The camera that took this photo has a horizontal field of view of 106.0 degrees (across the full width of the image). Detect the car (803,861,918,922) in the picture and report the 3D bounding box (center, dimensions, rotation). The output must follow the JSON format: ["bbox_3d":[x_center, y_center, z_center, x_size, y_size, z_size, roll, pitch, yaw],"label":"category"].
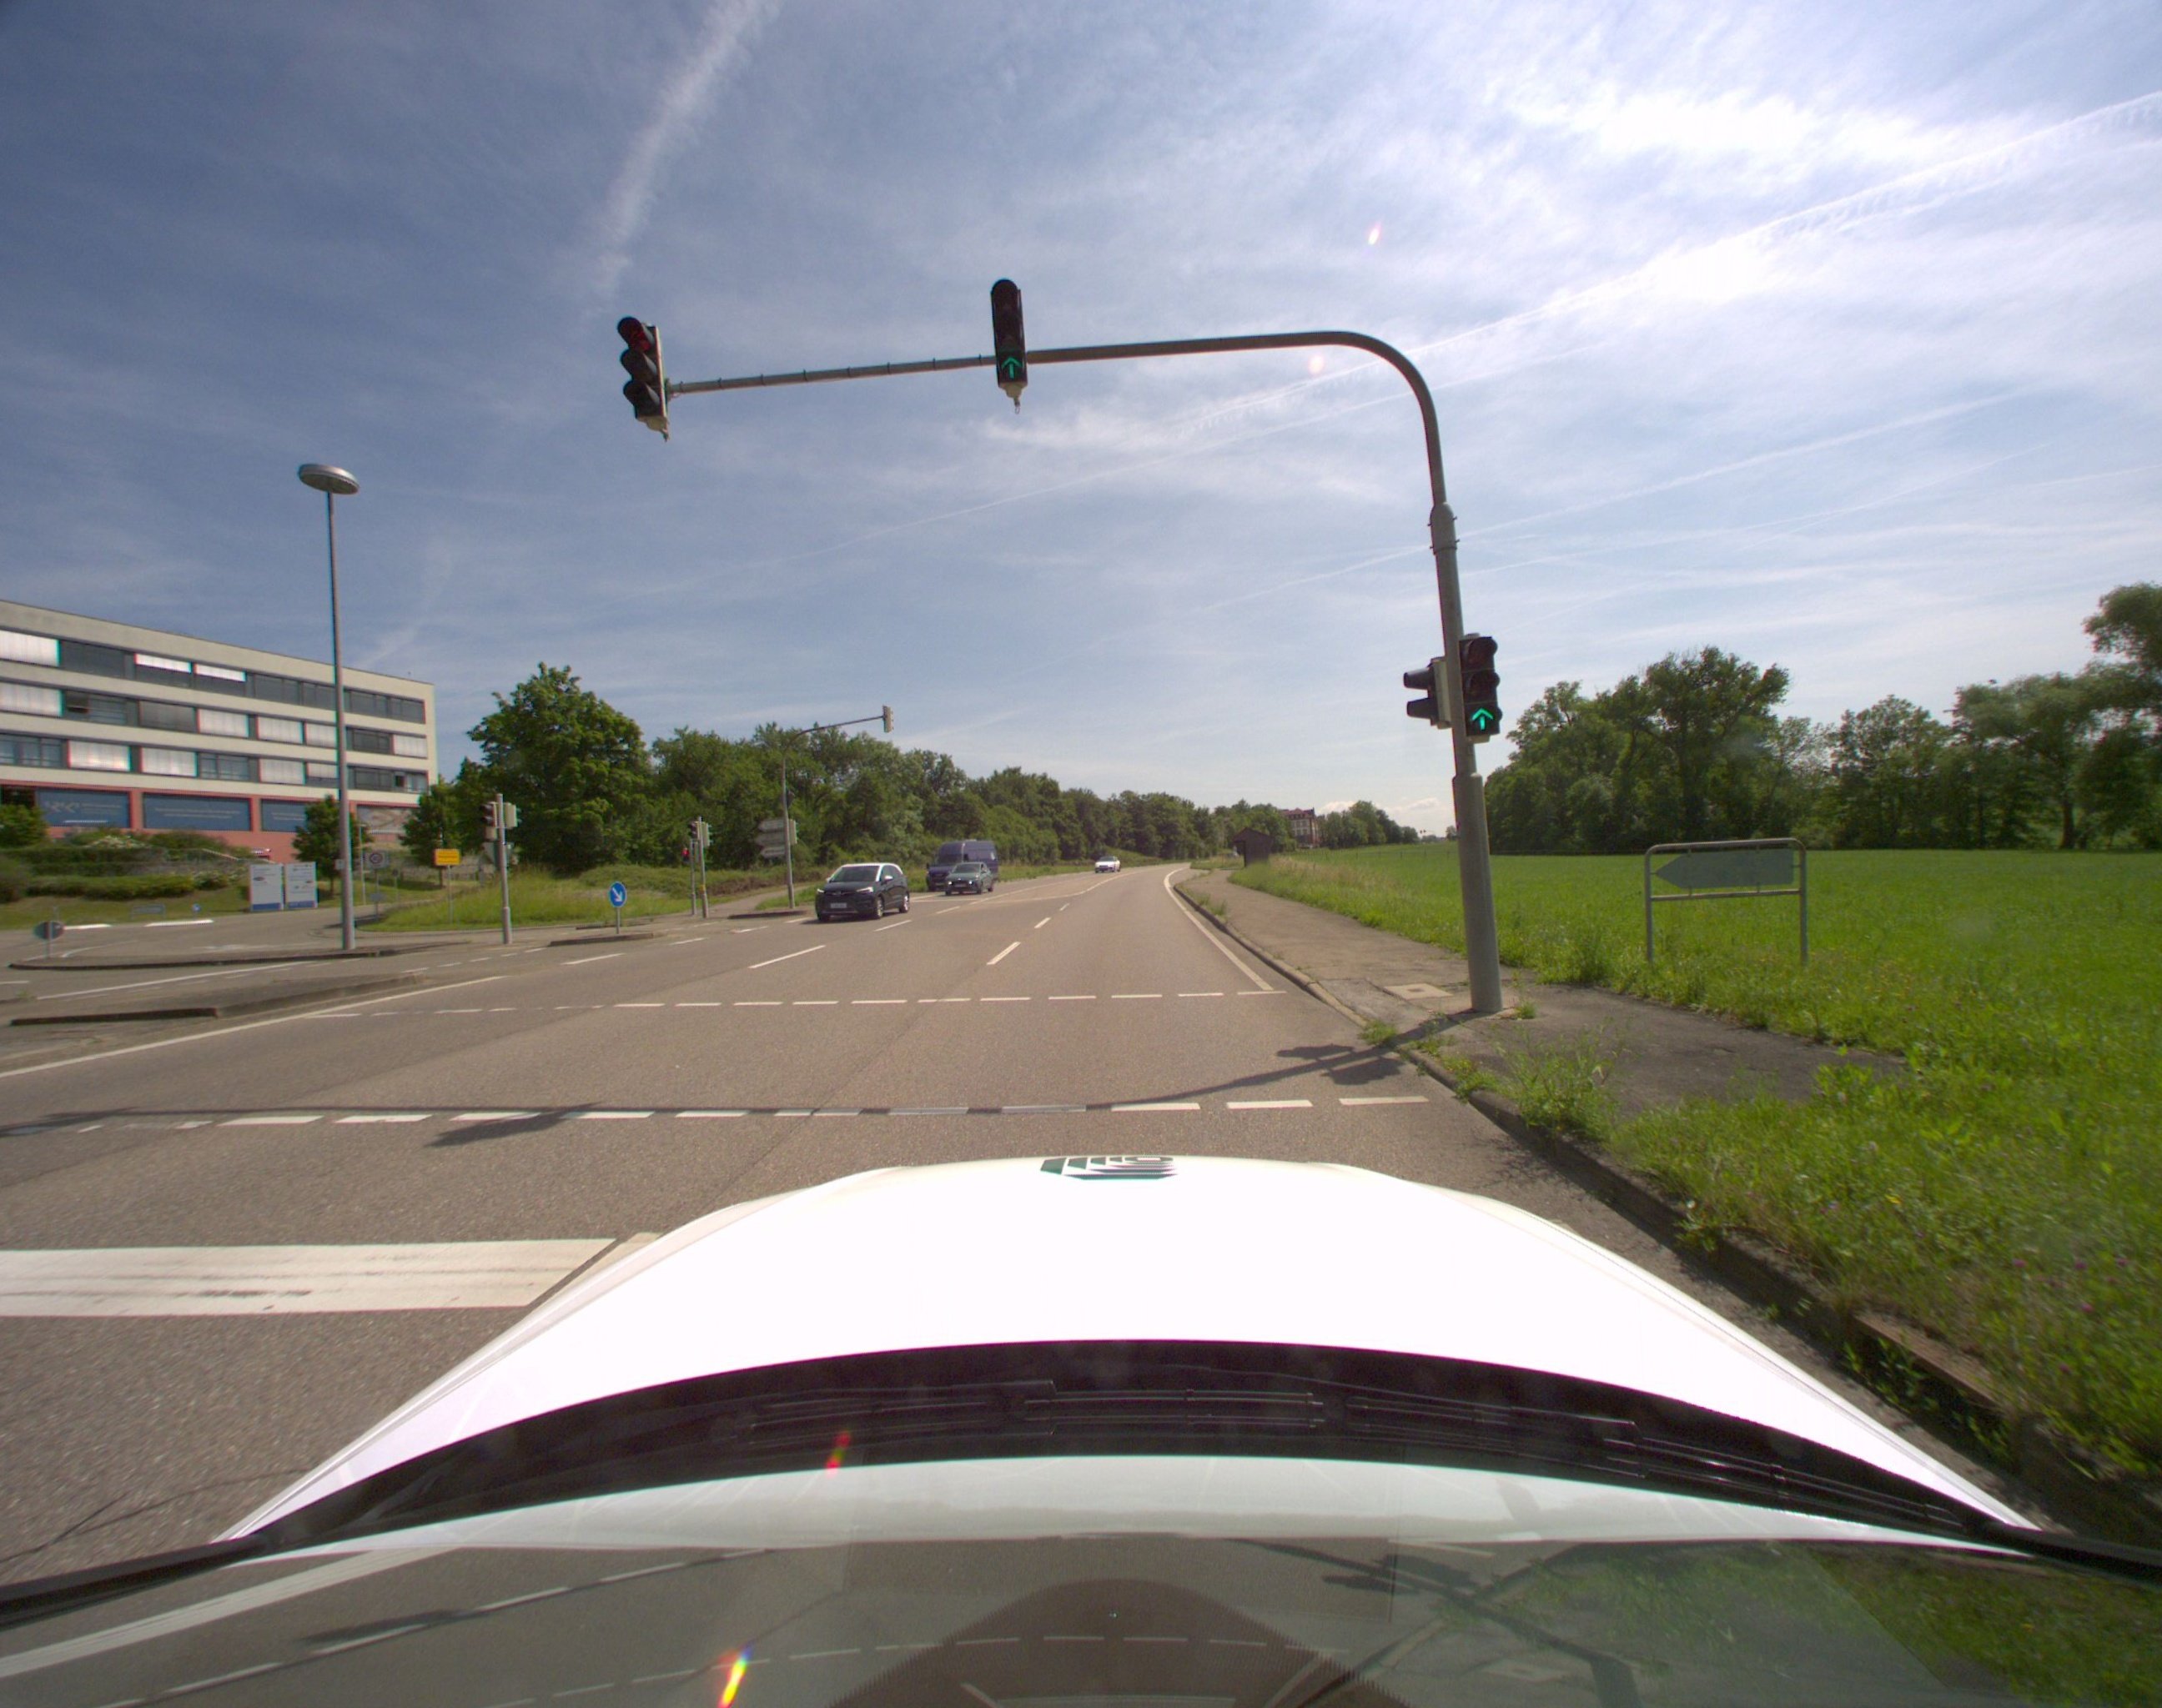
[{"bbox_3d":[-6.286,1.009,23.706,1.966,1.562,4.192,-2,-1,3],"label":"car"}]

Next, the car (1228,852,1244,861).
[{"bbox_3d":[28.056,0.503,147.669,1.976,1.574,4.022,-2,-1,24],"label":"car"}]

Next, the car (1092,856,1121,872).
[{"bbox_3d":[2.550,0.957,79.831,1.924,1.548,4.643,-2,-1,13],"label":"car"}]

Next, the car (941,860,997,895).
[{"bbox_3d":[-5.217,1.067,38.448,1.698,1.483,3.838,-2,-1,6],"label":"car"}]

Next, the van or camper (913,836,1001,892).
[{"bbox_3d":[-7.002,0.457,47.207,2.223,2.913,7.276,-3,1,15],"label":"van or camper"}]
